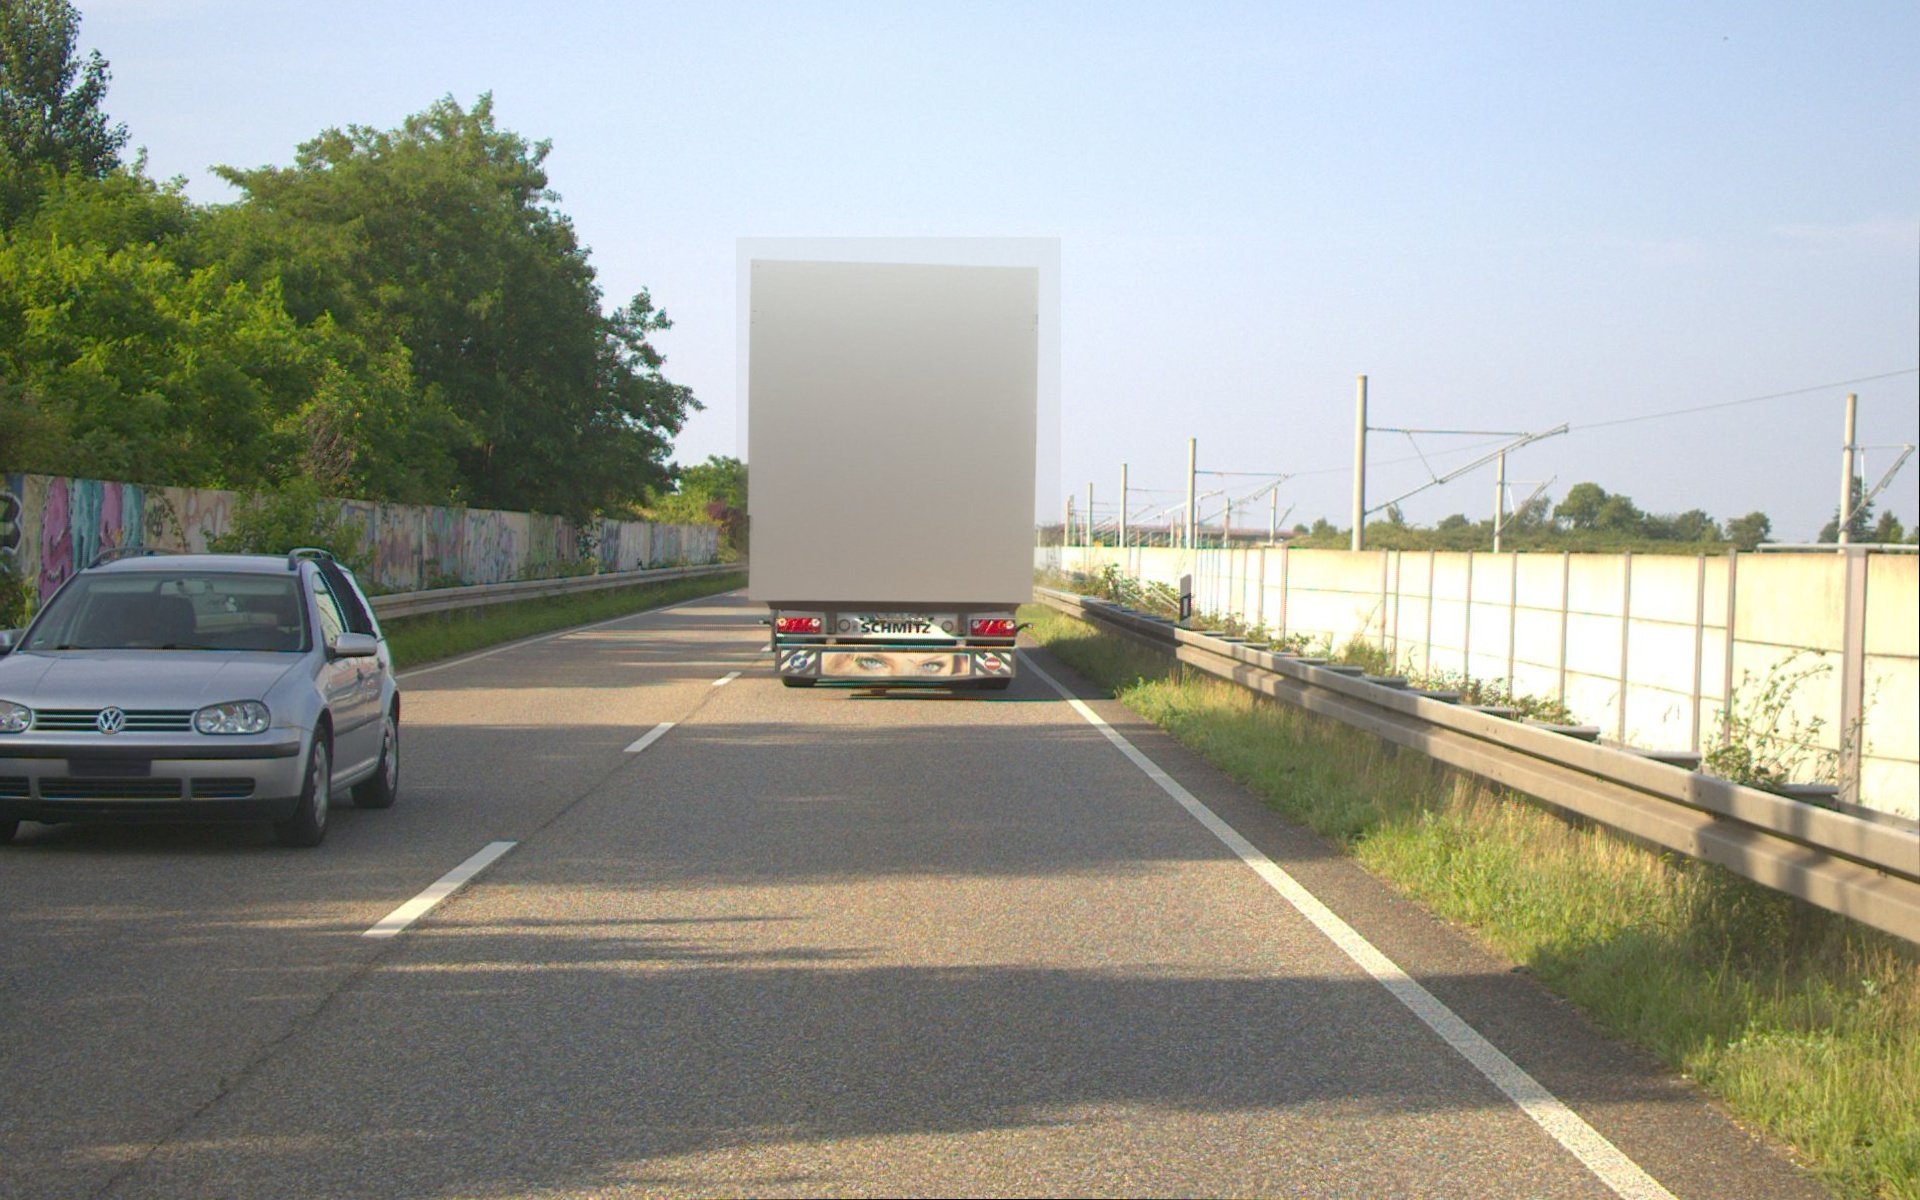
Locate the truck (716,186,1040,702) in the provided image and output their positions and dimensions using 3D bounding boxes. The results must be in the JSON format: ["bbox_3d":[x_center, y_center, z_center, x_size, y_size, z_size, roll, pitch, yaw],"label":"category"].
[{"bbox_3d":[-1.021,-1.608,38.865,3.033,4.903,11.685,1,1,-2],"label":"truck"}]

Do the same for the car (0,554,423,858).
[{"bbox_3d":[-3.962,0.471,18.101,1.719,1.389,4.361,1,0,-2],"label":"car"}]
